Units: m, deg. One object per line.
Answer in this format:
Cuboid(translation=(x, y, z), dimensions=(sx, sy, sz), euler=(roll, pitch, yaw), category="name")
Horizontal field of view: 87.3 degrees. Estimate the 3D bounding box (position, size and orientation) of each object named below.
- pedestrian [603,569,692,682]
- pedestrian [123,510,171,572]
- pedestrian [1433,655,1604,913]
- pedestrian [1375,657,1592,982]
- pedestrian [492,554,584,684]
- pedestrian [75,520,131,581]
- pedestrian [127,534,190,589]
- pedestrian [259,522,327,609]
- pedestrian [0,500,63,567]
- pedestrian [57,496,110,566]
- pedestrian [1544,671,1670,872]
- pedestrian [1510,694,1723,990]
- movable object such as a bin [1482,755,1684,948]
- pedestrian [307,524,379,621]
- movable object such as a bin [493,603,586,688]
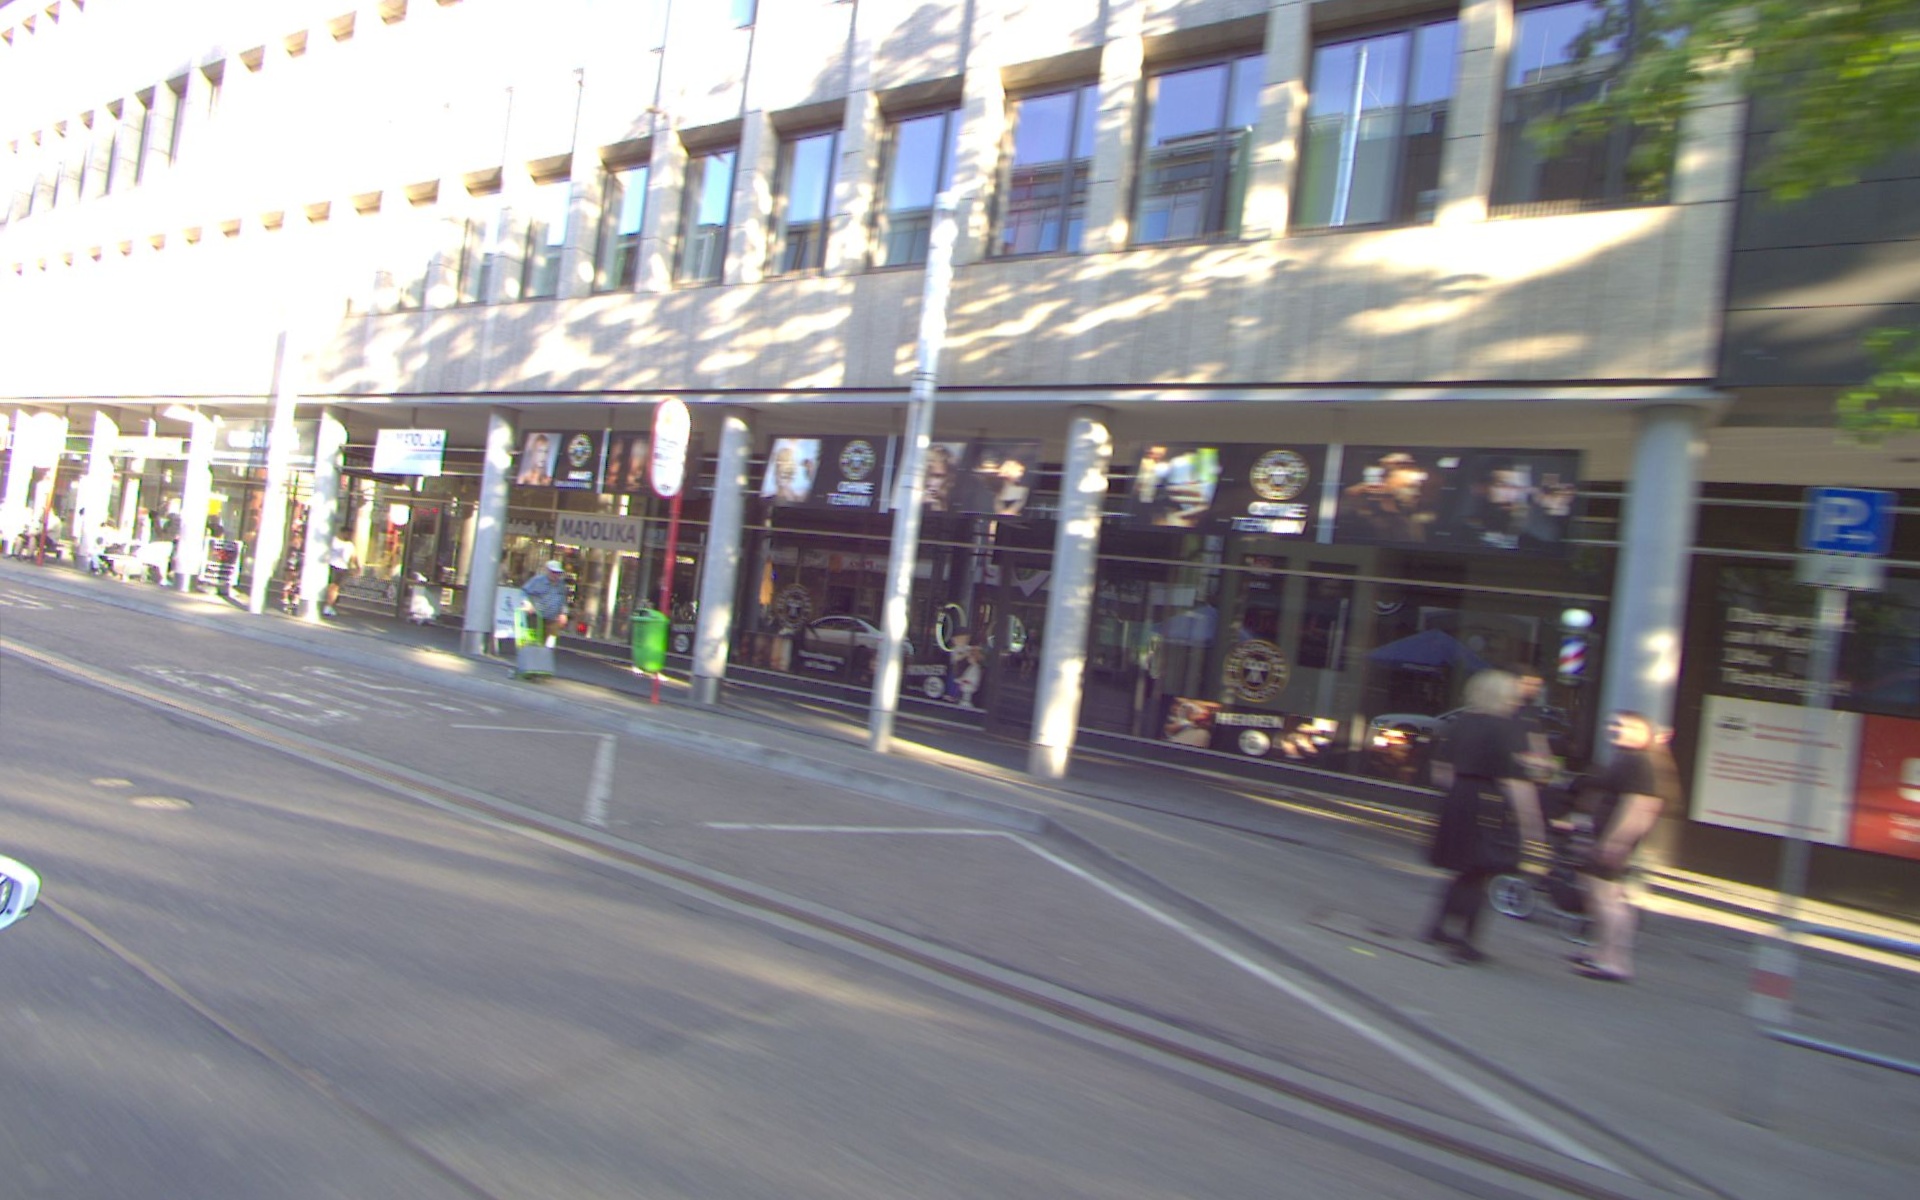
Cuboid(translation=(-4.844, 0.402, 15.598), dimensions=(0.910, 1.608, 0.697), euler=(7, -1, 31), category="pedestrian")
Cuboid(translation=(-22.232, -1.618, 27.523), dimensions=(0.783, 1.560, 0.644), euler=(7, -1, 31), category="pedestrian")
Cuboid(translation=(4.093, 1.332, 7.406), dimensions=(0.679, 1.753, 0.630), euler=(6, 1, -17), category="pedestrian")
Cuboid(translation=(3.052, 1.244, 5.906), dimensions=(0.673, 1.707, 0.691), euler=(6, 2, -26), category="pedestrian")
Cuboid(translation=(-5.556, 0.253, 13.261), dimensions=(0.621, 1.590, 0.683), euler=(7, -2, 31), category="pedestrian")
Cuboid(translation=(-19.052, -1.095, 22.372), dimensions=(0.772, 1.212, 0.667), euler=(7, -1, 36), category="pedestrian")
Cuboid(translation=(-17.552, -0.846, 22.041), dimensions=(0.685, 1.043, 0.837), euler=(7, -1, 36), category="pedestrian")
Cuboid(translation=(-14.284, -0.735, 21.550), dimensions=(0.843, 1.720, 0.745), euler=(7, -1, 31), category="pedestrian")
Cuboid(translation=(-22.048, -1.562, 23.778), dimensions=(0.763, 1.393, 0.837), euler=(8, -1, 9), category="pedestrian")
Cuboid(translation=(-23.958, -1.891, 27.502), dimensions=(0.821, 1.761, 0.717), euler=(7, -1, 31), category="pedestrian")
Cuboid(translation=(6.463, 1.680, 10.099), dimensions=(0.833, 1.805, 0.781), euler=(7, -1, 30), category="pedestrian")
Cuboid(translation=(3.881, 1.406, 5.991), dimensions=(0.598, 1.572, 0.687), euler=(6, 1, -15), category="pedestrian")
Cuboid(translation=(4.221, 1.692, 6.866), dimensions=(0.679, 1.077, 0.830), euler=(6, 1, -17), category="movable object such as a bin")
Cuboid(translation=(-12.492, -0.557, 20.379), dimensions=(0.843, 1.813, 0.745), euler=(7, -1, 31), category="pedestrian")
Cuboid(translation=(-5.315, 0.584, 12.740), dimensions=(0.706, 0.934, 0.691), euler=(7, -3, 31), category="movable object such as a bin")
